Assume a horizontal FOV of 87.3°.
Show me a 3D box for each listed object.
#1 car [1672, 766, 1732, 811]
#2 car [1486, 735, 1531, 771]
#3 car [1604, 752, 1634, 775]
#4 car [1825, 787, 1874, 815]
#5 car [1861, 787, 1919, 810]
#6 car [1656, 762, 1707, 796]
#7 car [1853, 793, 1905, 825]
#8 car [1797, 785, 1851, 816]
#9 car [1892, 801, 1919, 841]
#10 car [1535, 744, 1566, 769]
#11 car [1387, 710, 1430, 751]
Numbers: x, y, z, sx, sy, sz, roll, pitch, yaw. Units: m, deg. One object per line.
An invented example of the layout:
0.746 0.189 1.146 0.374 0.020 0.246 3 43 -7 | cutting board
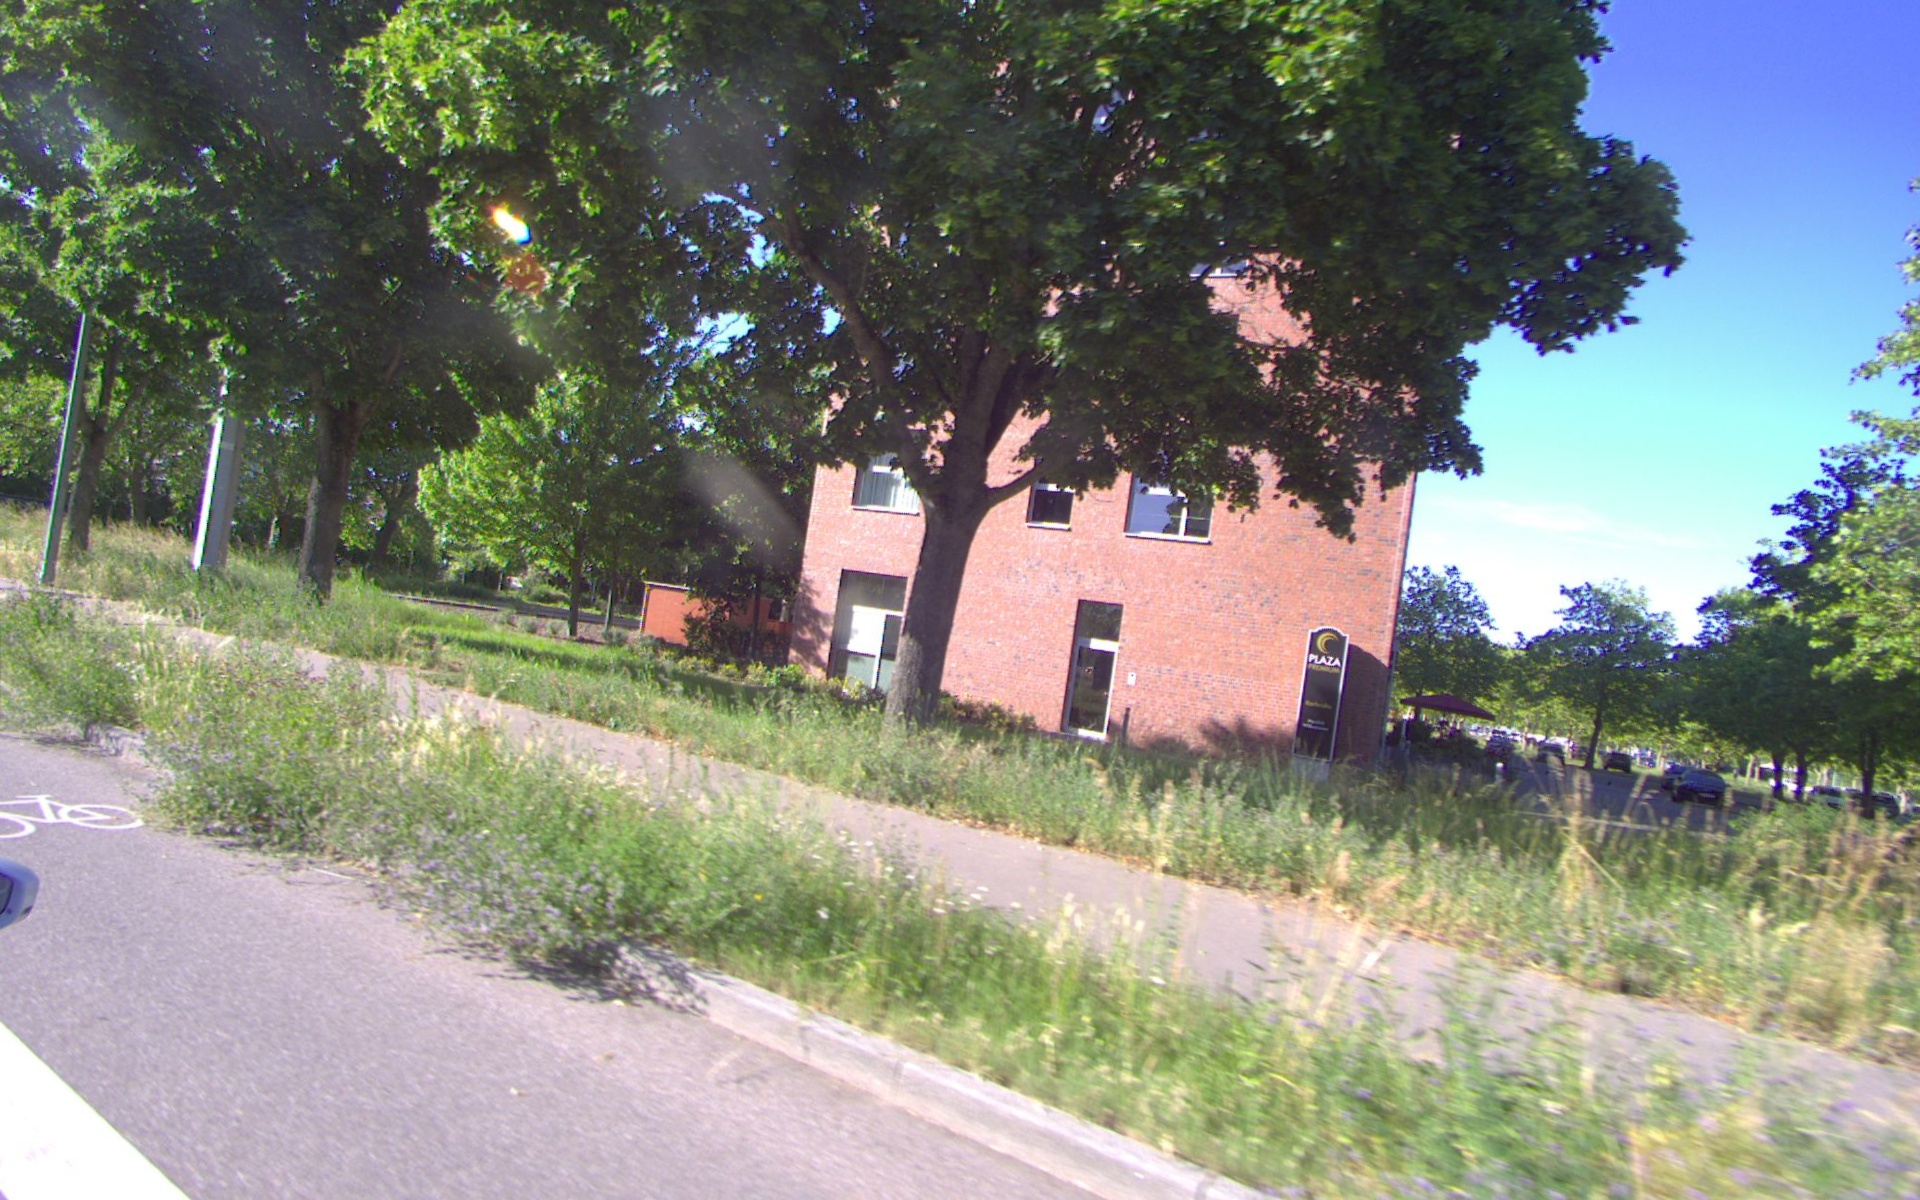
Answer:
32.223 8.142 43.652 1.846 1.508 3.990 7 -3 39 | car
29.352 8.157 53.911 1.841 1.508 4.000 7 -3 28 | car
53.995 13.394 82.417 1.843 1.508 3.995 7 -3 34 | car
66.598 15.033 75.381 1.801 1.478 4.231 7 -3 30 | car
98.182 20.971 106.178 4.160 1.478 1.831 7 -3 31 | car
41.268 10.214 57.626 1.801 1.478 4.231 7 -3 30 | car
60.153 13.659 65.891 1.708 1.508 3.996 7 -3 33 | car
57.662 13.344 67.190 1.801 1.478 4.231 7 -3 30 | car
38.447 8.840 39.354 1.801 1.414 4.525 7 -4 30 | car
44.209 11.688 75.393 1.801 1.478 4.231 7 -3 30 | car
24.545 7.115 55.058 1.839 1.848 4.003 8 -3 25 | car
